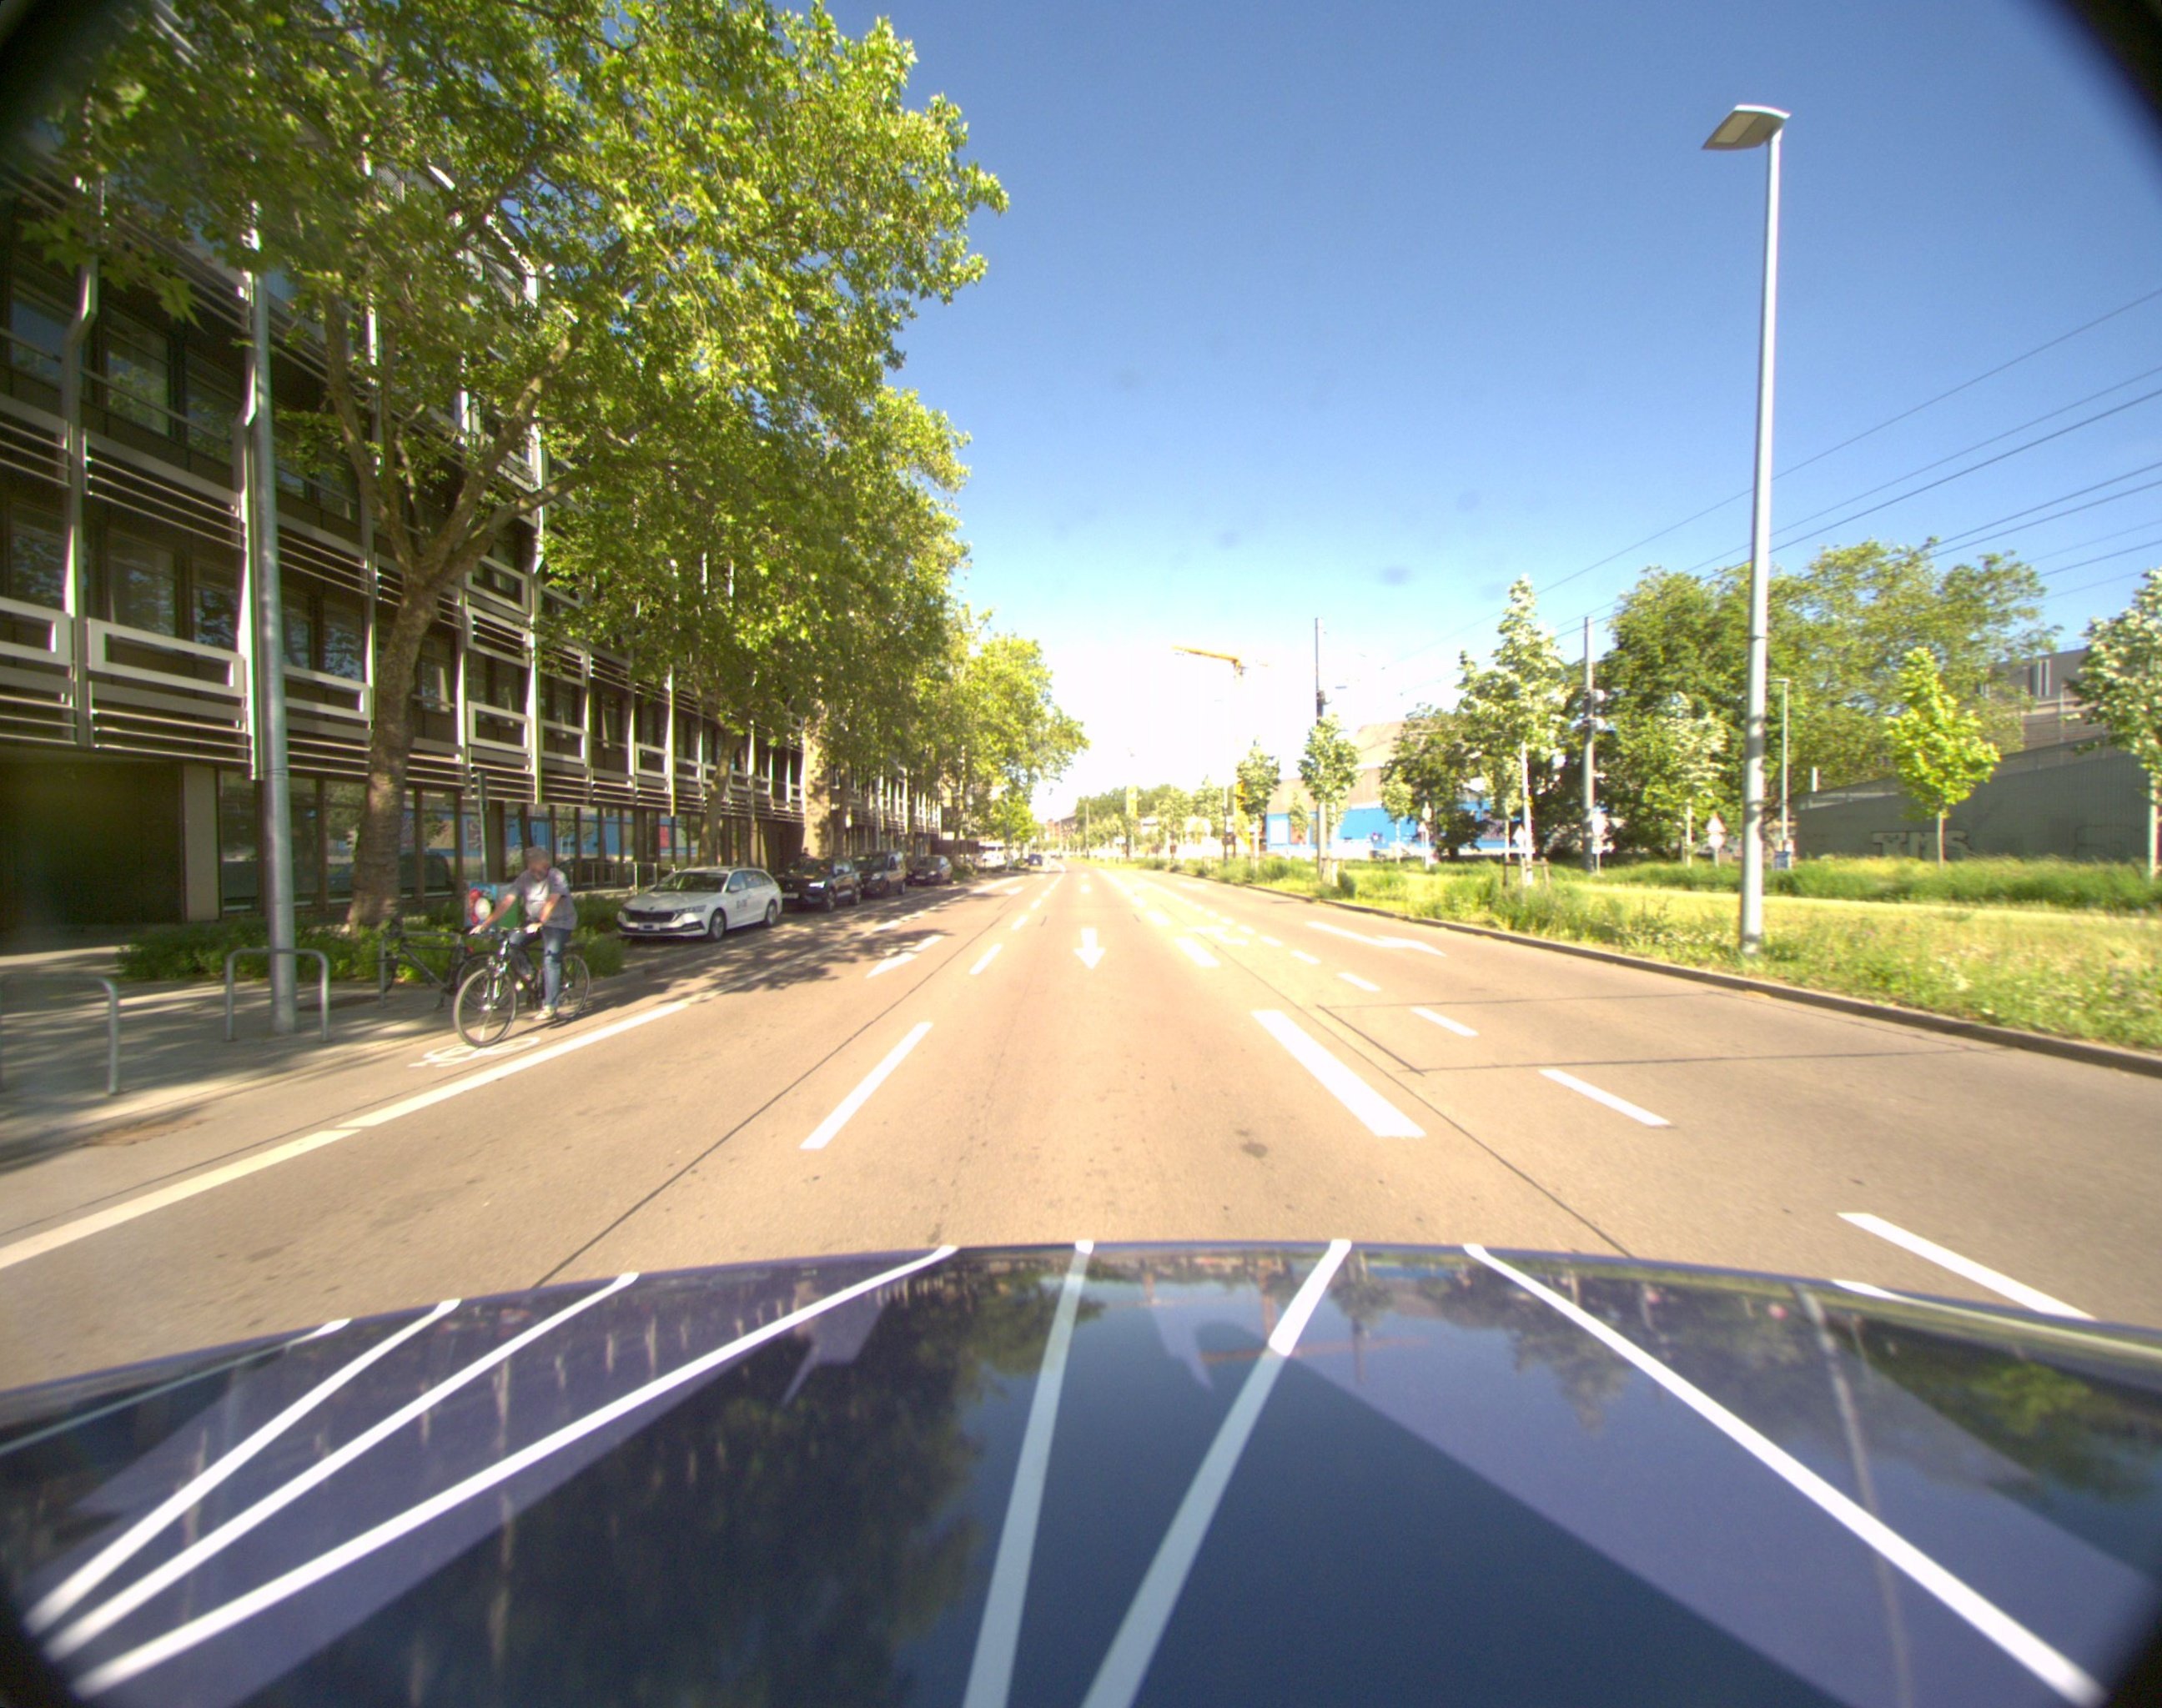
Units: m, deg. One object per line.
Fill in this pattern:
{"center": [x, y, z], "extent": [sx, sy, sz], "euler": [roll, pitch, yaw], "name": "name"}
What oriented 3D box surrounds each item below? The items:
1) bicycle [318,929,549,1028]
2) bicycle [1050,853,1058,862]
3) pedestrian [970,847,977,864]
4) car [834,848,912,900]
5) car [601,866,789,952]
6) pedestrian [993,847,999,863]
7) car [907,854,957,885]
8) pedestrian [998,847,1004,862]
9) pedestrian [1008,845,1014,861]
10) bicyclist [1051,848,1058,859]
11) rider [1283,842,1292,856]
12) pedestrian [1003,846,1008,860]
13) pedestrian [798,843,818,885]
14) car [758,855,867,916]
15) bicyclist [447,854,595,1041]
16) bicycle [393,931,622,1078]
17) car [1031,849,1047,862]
{"center": [-7.025, 1.346, 8.316], "extent": [1.849, 0.955, 0.711], "euler": [1, 1, -4], "name": "bicycle"}
{"center": [-3.240, 0.402, 92.926], "extent": [0.845, 1.123, 2.553], "euler": [-1, 0, 1], "name": "bicycle"}
{"center": [-11.284, 0.151, 79.478], "extent": [0.591, 1.830, 0.697], "euler": [-1, 1, 0], "name": "pedestrian"}
{"center": [-7.789, 0.704, 28.901], "extent": [1.752, 1.811, 4.336], "euler": [1, 0, 0], "name": "car"}
{"center": [-8.076, 1.065, 16.458], "extent": [1.752, 1.481, 4.559], "euler": [1, 0, 0], "name": "car"}
{"center": [-9.984, 0.124, 88.902], "extent": [0.591, 1.830, 0.696], "euler": [-1, 1, 0], "name": "pedestrian"}
{"center": [-7.842, 0.786, 40.310], "extent": [1.752, 1.545, 4.336], "euler": [1, 0, 0], "name": "car"}
{"center": [-9.867, 0.005, 93.658], "extent": [0.591, 1.830, 0.569], "euler": [-1, 1, 0], "name": "pedestrian"}
{"center": [-8.491, -0.118, 92.422], "extent": [0.591, 1.830, 0.569], "euler": [-1, 1, 0], "name": "pedestrian"}
{"center": [-3.239, -0.062, 92.922], "extent": [0.830, 1.380, 0.903], "euler": [-1, 1, 1], "name": "bicyclist"}
{"center": [22.760, -0.533, 83.844], "extent": [0.724, 1.513, 0.631], "euler": [-1, 1, -2], "name": "rider"}
{"center": [-10.076, -0.136, 101.514], "extent": [0.591, 1.830, 0.569], "euler": [-1, 1, 0], "name": "pedestrian"}
{"center": [-13.140, 0.472, 36.575], "extent": [0.741, 2.002, 0.625], "euler": [-1, 1, -3], "name": "pedestrian"}
{"center": [-8.025, 0.875, 23.137], "extent": [1.752, 1.624, 4.336], "euler": [1, 0, 0], "name": "car"}
{"center": [-5.404, 0.859, 7.388], "extent": [0.711, 1.678, 0.852], "euler": [-3, 1, -1], "name": "bicyclist"}
{"center": [-5.374, 1.353, 7.311], "extent": [0.711, 0.987, 1.923], "euler": [-3, 0, -1], "name": "bicycle"}
{"center": [-5.639, 0.206, 103.328], "extent": [1.999, 1.598, 3.895], "euler": [-1, 0, -1], "name": "car"}
